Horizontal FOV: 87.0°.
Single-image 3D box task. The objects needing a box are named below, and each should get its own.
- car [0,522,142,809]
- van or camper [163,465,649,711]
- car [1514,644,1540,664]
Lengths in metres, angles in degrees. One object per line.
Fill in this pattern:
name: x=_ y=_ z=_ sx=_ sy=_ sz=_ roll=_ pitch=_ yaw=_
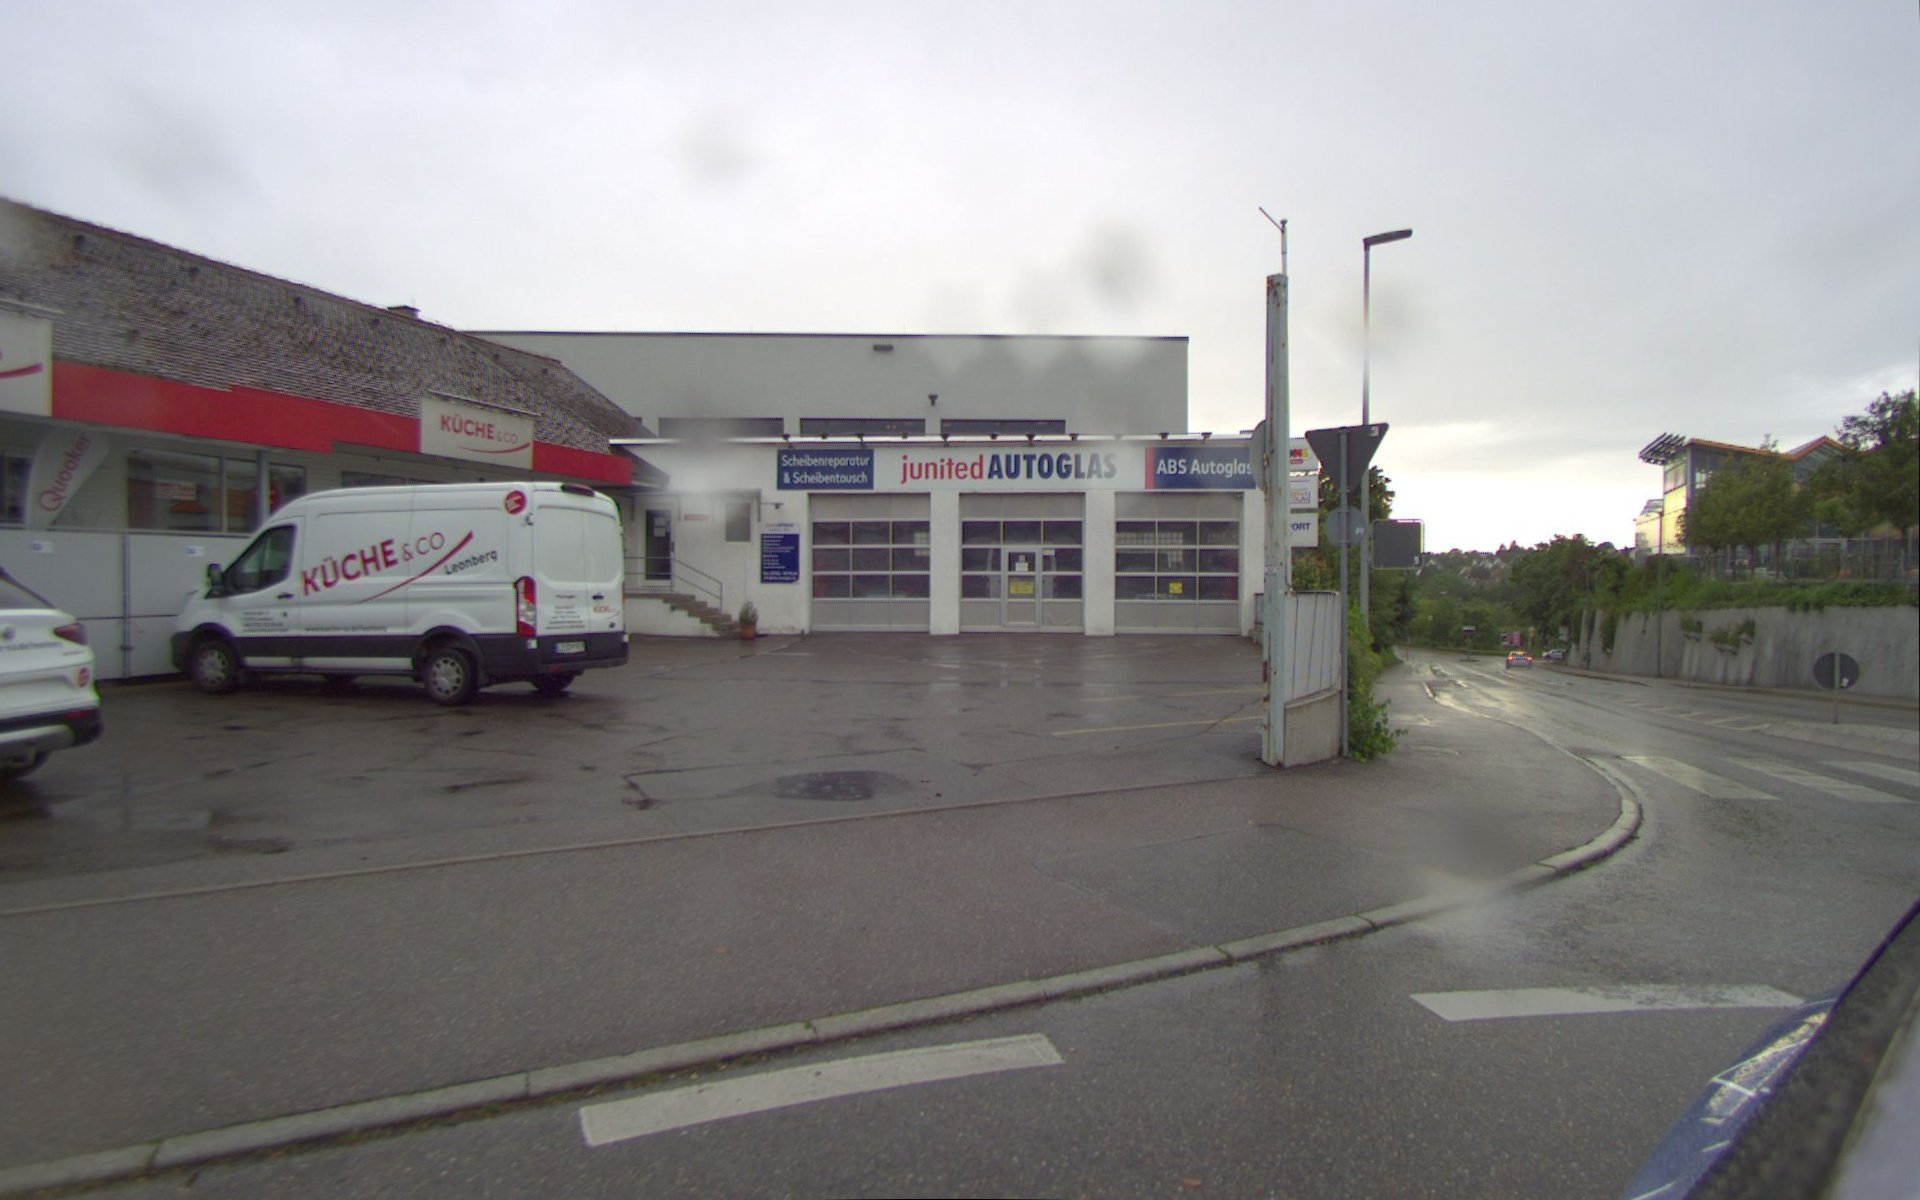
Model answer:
car: x=-7.752 y=0.343 z=6.182 sx=4.093 sy=1.712 sz=1.846 roll=1 pitch=1 yaw=2
van or camper: x=-6.657 y=-0.208 z=12.298 sx=5.189 sy=2.572 sz=2.120 roll=2 pitch=1 yaw=16
car: x=46.081 y=4.362 z=82.287 sx=1.794 sy=1.483 sz=3.958 roll=1 pitch=-2 yaw=29
